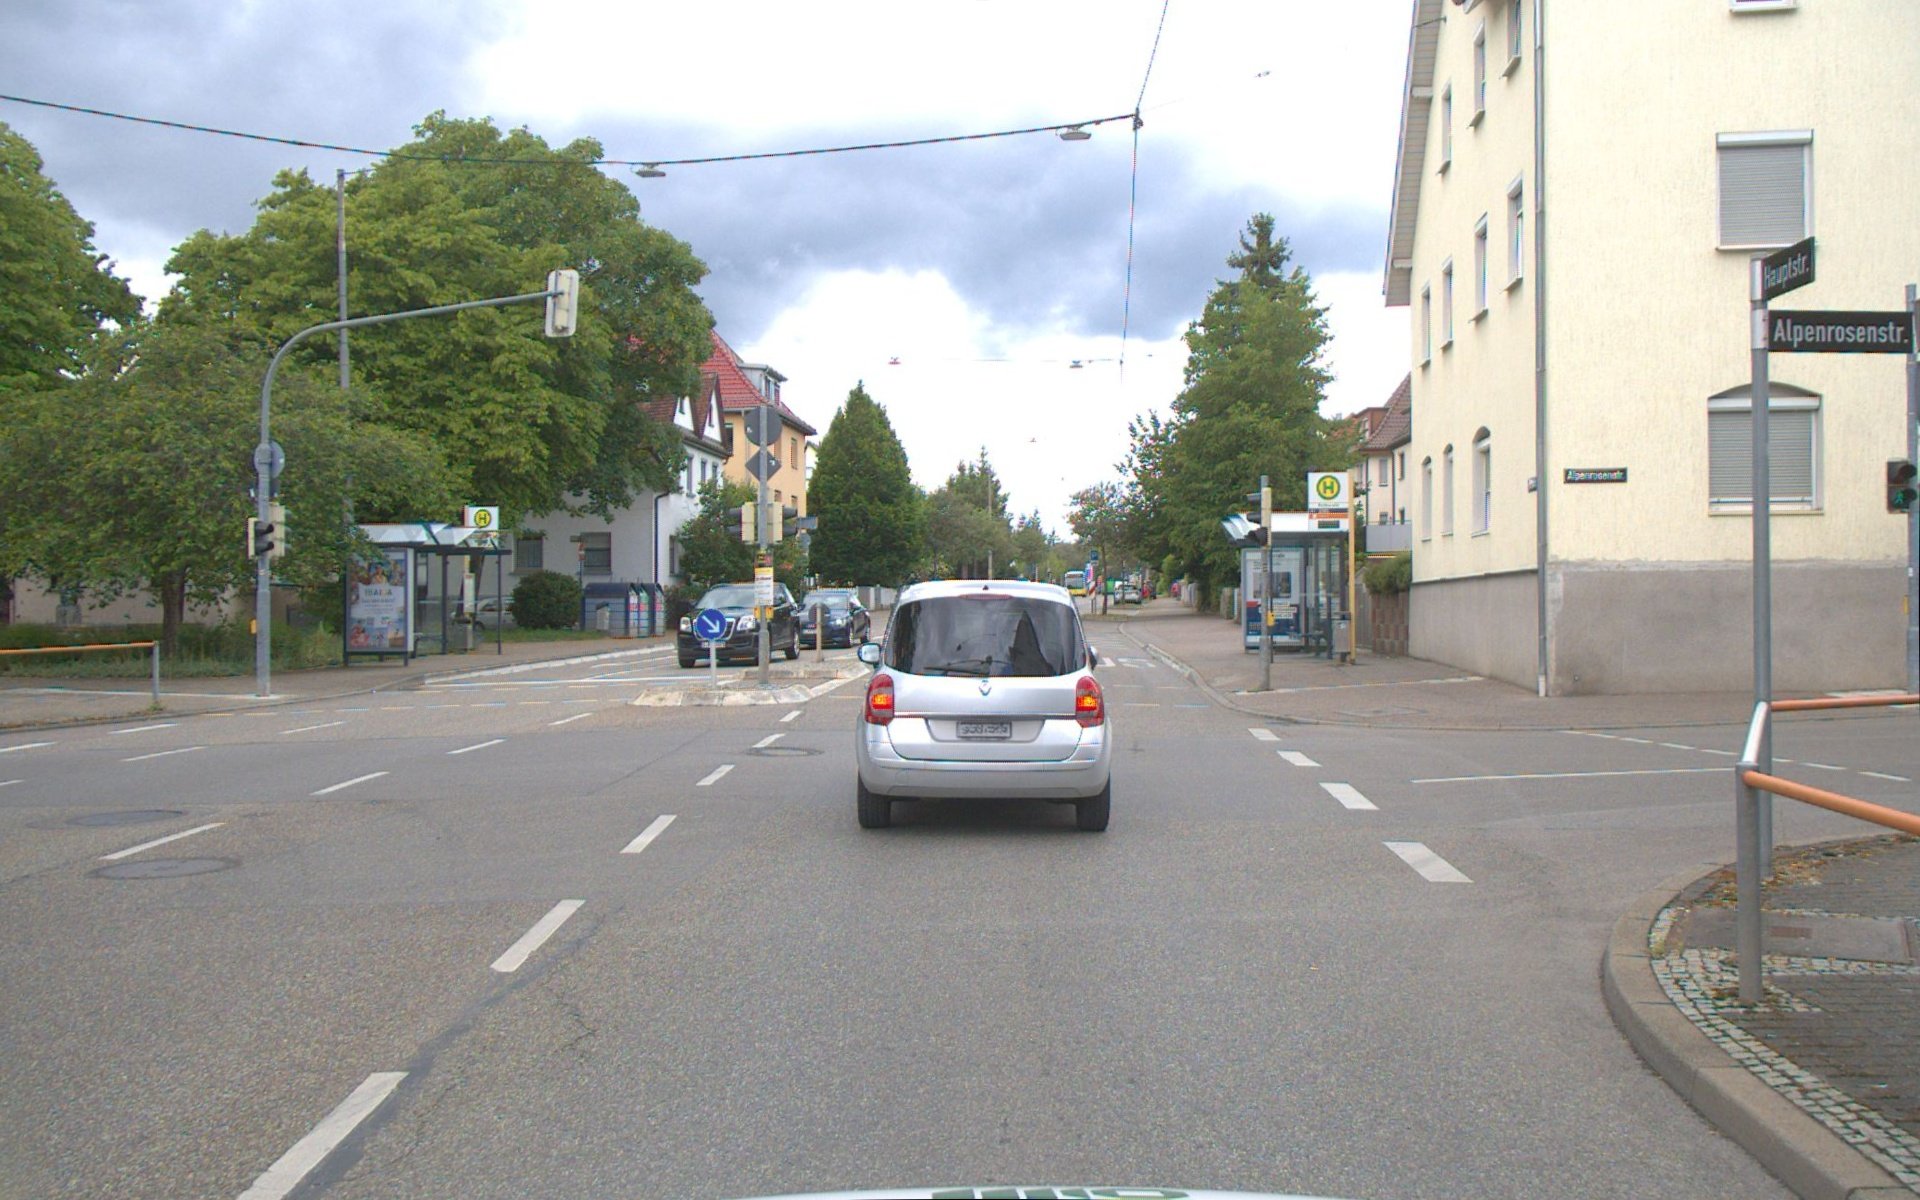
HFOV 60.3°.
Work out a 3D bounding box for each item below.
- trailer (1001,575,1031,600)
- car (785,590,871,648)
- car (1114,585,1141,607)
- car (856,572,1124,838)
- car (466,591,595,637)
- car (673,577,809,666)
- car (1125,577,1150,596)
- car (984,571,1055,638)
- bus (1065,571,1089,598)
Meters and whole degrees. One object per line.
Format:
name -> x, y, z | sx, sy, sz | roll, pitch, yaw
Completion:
trailer -> 4.975, -1.121, 146.614 | 2.263, 2.123, 5.876 | 1, 0, 6
car -> -3.444, 0.494, 43.763 | 1.531, 1.445, 4.133 | -1, -1, 6
car -> 10.734, -0.233, 105.740 | 1.615, 1.406, 4.003 | 0, 0, 8
car -> 0.156, 0.639, 11.937 | 1.597, 1.584, 3.999 | 1, 0, -1
car -> -14.882, 0.478, 57.396 | 3.903, 1.355, 1.723 | -3, -1, 5
car -> -4.535, 0.444, 34.911 | 1.721, 1.663, 4.598 | -3, -1, 6
car -> 13.421, -1.050, 124.827 | 1.627, 1.417, 3.671 | -1, 1, 9
car -> 1.575, 0.118, 44.699 | 1.791, 1.705, 3.574 | -1, 0, 0
bus -> 14.757, -1.980, 207.441 | 2.576, 3.139, 12.078 | -2, 0, 6
